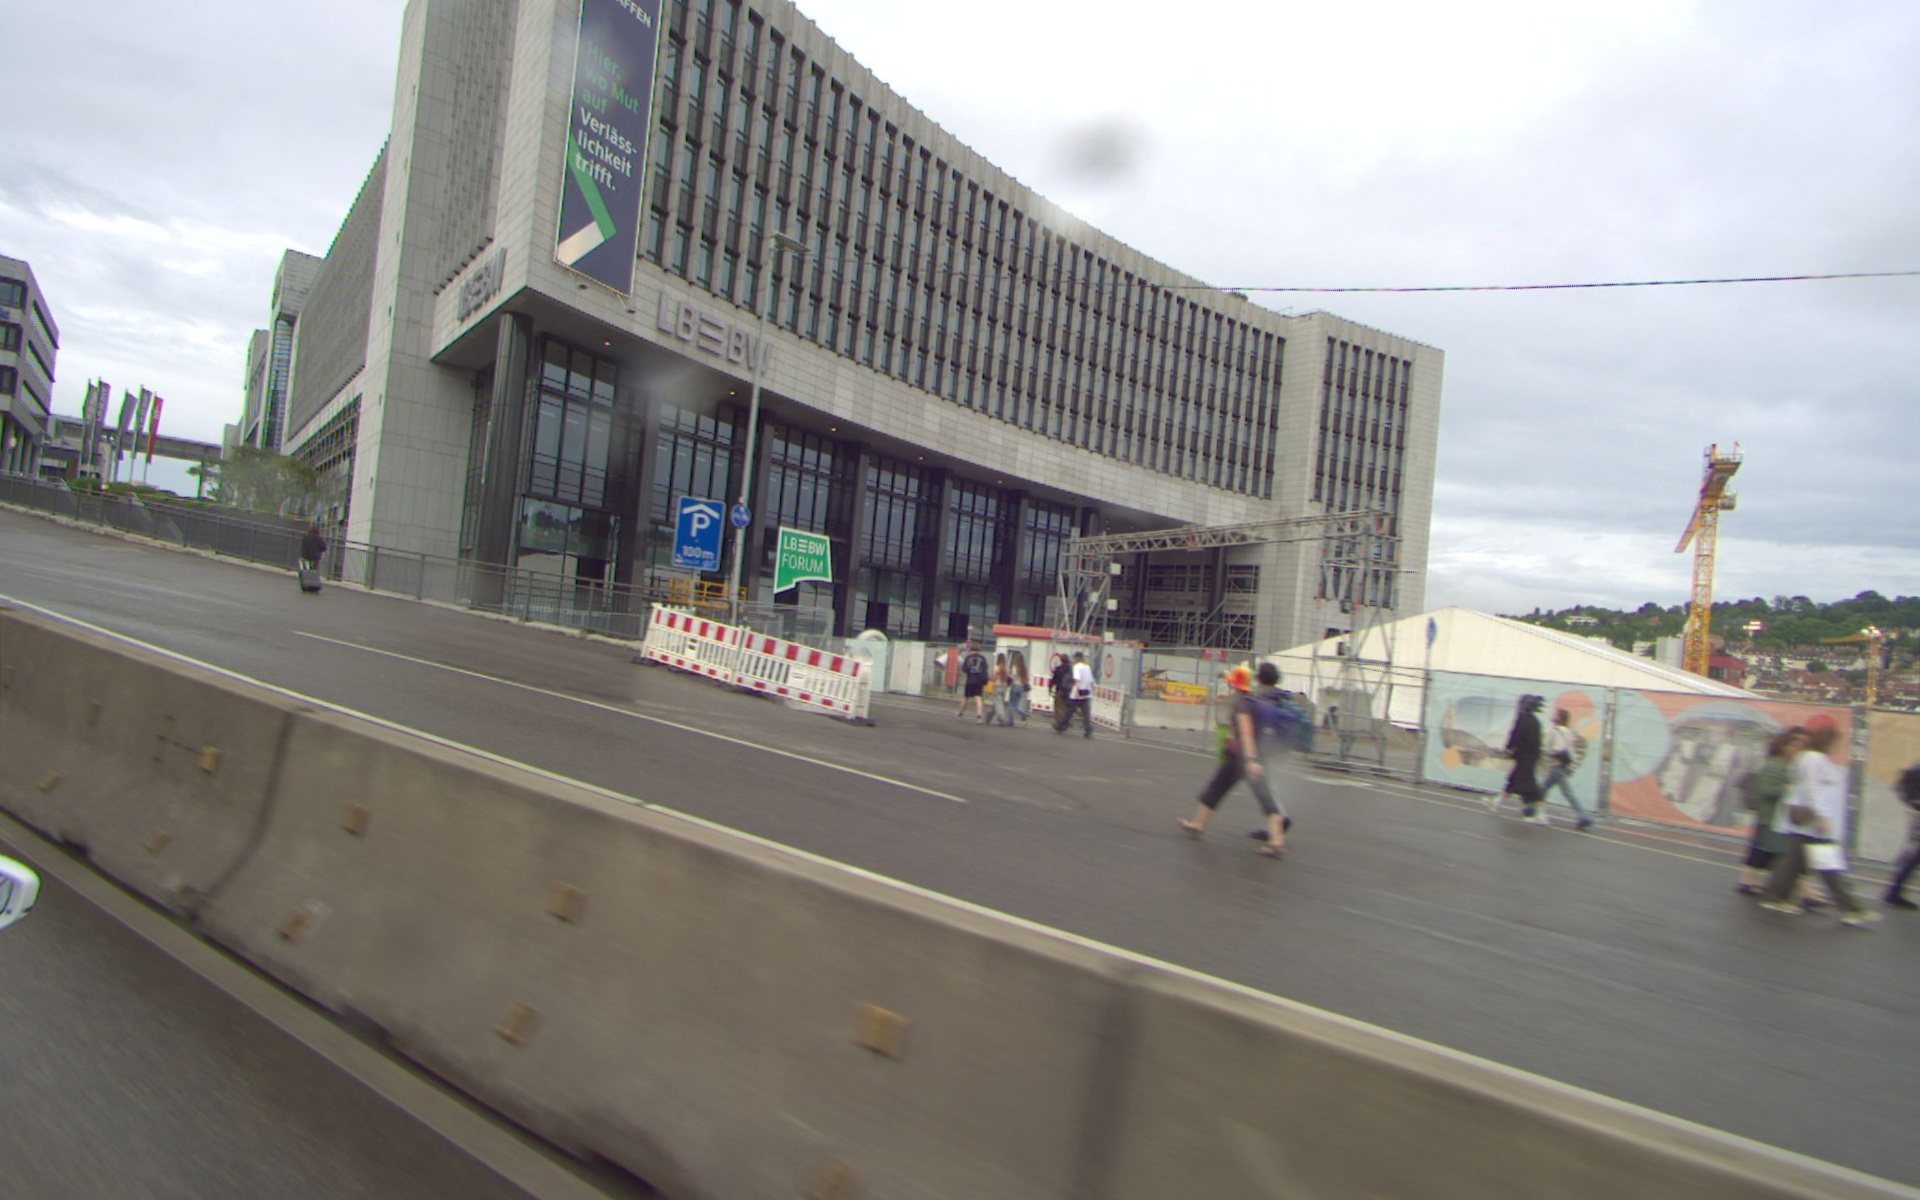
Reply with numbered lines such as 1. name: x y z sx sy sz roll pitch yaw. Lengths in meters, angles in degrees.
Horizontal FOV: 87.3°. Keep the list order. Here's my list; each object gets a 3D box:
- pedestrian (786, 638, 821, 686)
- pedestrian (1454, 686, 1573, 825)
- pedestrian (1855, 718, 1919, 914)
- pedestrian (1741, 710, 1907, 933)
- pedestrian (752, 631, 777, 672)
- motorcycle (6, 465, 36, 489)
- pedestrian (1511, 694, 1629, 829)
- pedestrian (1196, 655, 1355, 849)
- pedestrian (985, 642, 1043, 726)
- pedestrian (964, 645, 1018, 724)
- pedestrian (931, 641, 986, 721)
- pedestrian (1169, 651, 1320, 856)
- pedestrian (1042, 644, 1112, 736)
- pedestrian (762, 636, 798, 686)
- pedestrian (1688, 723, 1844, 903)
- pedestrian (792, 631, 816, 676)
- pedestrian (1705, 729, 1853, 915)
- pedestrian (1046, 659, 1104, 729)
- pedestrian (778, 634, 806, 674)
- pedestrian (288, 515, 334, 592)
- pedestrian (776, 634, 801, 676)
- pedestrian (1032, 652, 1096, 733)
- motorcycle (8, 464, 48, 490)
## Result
1. pedestrian: -5.814 2.290 37.339 0.859 1.656 1.001 6 -1 -30
2. pedestrian: 7.657 2.141 13.940 0.859 1.746 1.001 6 -1 -30
3. pedestrian: 9.757 2.179 10.035 0.862 1.839 0.997 7 -1 -39
4. pedestrian: 7.683 1.921 8.955 0.774 1.743 0.882 6 -1 -39
5. pedestrian: -8.706 2.285 44.769 0.855 1.656 1.006 6 -1 -15
6. motorcycle: -61.745 -8.078 66.151 0.609 1.287 1.244 8 1 24
7. pedestrian: 8.590 2.260 14.195 0.859 1.709 1.001 6 -1 -30
8. pedestrian: 2.924 1.390 9.371 0.854 1.612 0.945 6 -1 -31
9. pedestrian: 1.246 1.929 23.324 0.765 1.805 1.001 6 -1 -30
10. pedestrian: 0.696 1.894 22.638 0.692 1.656 0.909 6 -1 -30
11. pedestrian: -0.040 1.805 22.450 0.718 1.656 0.909 6 -1 -30
12. pedestrian: 2.429 1.296 8.628 0.727 1.593 0.798 8 -2 -31
13. pedestrian: 2.468 1.891 21.286 0.859 1.803 1.001 6 -1 -30
14. pedestrian: -6.581 2.227 36.816 0.859 1.656 1.001 6 -1 -30
15. pedestrian: 8.124 2.108 10.154 0.711 1.572 0.997 6 -1 -39
16. pedestrian: -6.755 2.304 43.491 0.742 1.837 0.641 6 0 0
17. pedestrian: 7.747 2.056 9.526 0.606 1.540 0.876 6 -1 -39
18. pedestrian: 2.824 2.296 24.707 0.859 1.572 1.001 6 -1 -30
19. pedestrian: -7.603 2.431 45.454 0.858 1.656 1.002 6 -1 -25
20. pedestrian: -15.309 -1.096 23.753 0.724 1.672 1.052 7 0 -31
21. pedestrian: -7.030 2.251 41.279 0.727 1.656 0.654 6 0 0
22. pedestrian: 2.328 2.080 22.682 0.859 1.656 1.001 6 -1 -30
23. motorcycle: -61.056 -8.040 65.919 0.595 1.371 1.728 8 1 24
